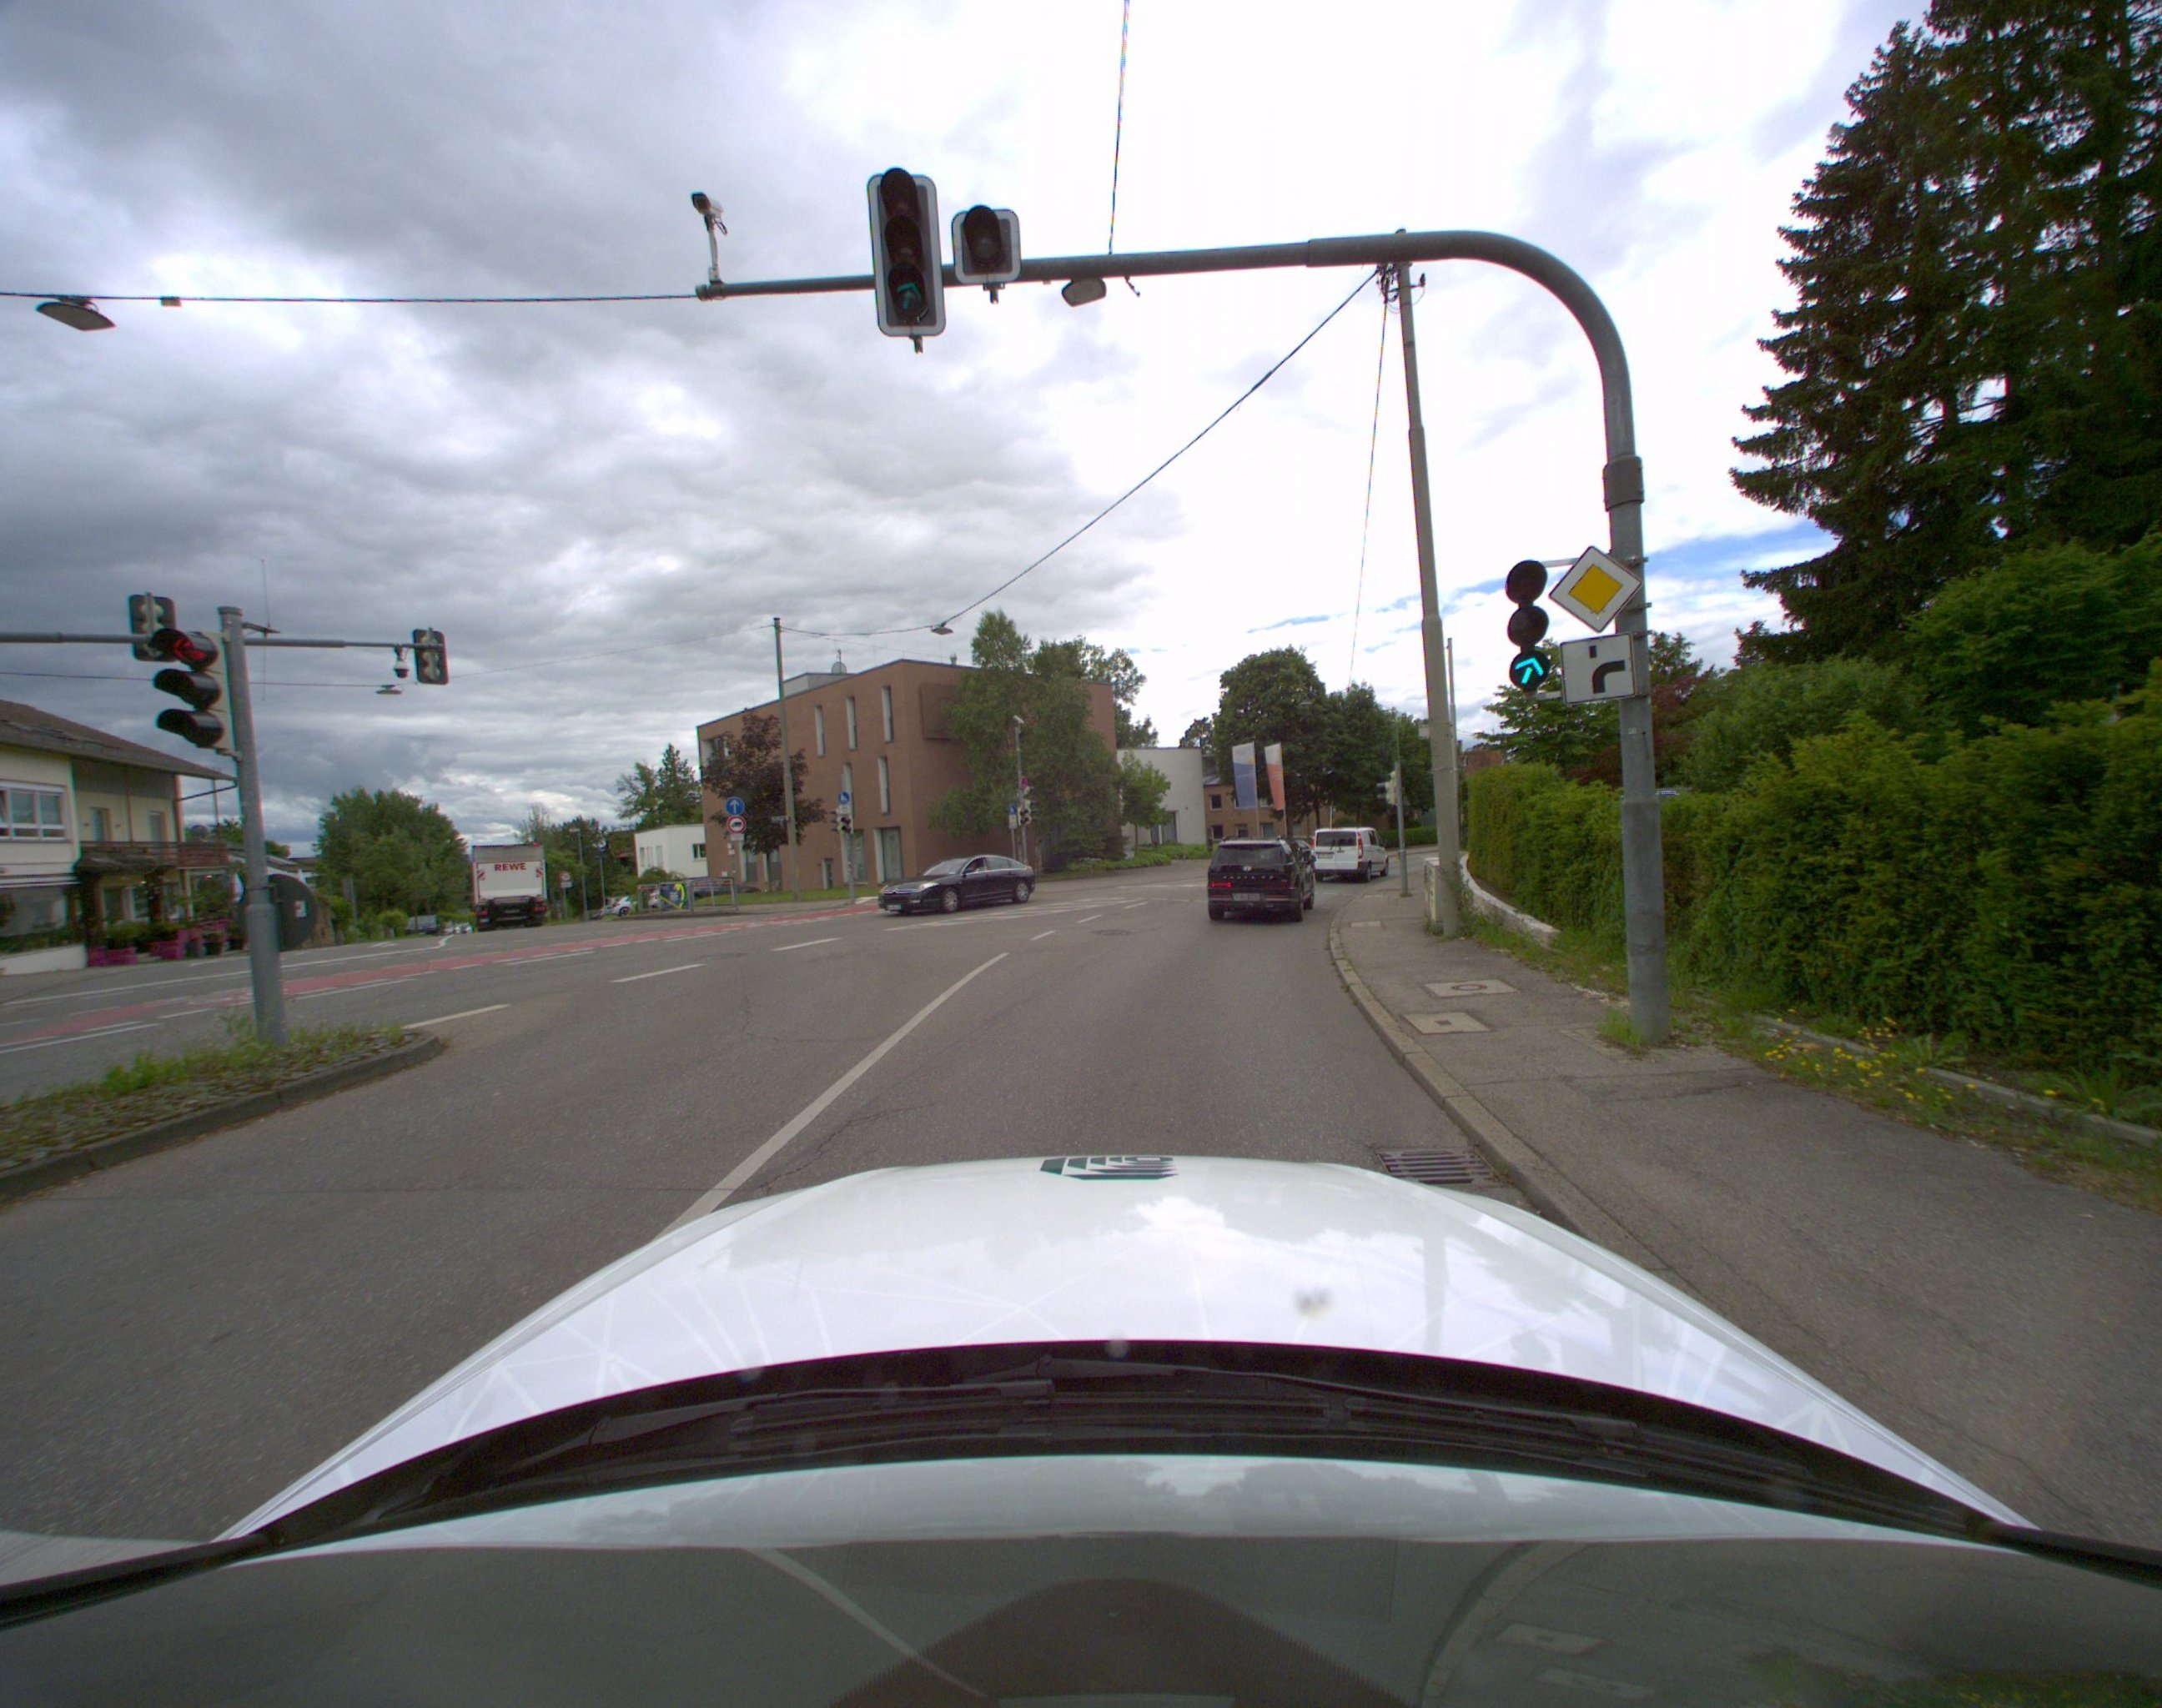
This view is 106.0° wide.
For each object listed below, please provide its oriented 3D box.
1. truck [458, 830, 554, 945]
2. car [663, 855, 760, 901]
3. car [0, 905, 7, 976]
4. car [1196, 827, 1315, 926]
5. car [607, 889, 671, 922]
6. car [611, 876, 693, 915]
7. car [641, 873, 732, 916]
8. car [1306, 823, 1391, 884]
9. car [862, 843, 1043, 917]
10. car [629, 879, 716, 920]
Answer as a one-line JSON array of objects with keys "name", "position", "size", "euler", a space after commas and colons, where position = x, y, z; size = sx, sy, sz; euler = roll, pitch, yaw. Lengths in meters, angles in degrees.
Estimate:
[{"name": "truck", "position": [-28.399, 1.556, 39.919], "size": [3.151, 4.734, 11.660], "euler": [-4, 1, -37]}, {"name": "car", "position": [-18.775, 1.200, 41.456], "size": [4.022, 2.013, 1.976], "euler": [-4, 0, -41]}, {"name": "car", "position": [-32.311, 2.575, 21.635], "size": [4.014, 2.013, 1.980], "euler": [-4, 0, -31]}, {"name": "car", "position": [3.908, 0.390, 17.721], "size": [1.977, 1.881, 4.021], "euler": [0, 1, 20]}, {"name": "car", "position": [-32.409, 3.713, 59.756], "size": [4.013, 2.013, 1.981], "euler": [-4, 0, -30]}, {"name": "car", "position": [-26.727, 2.536, 50.794], "size": [4.022, 2.013, 1.976], "euler": [-5, 1, -41]}, {"name": "car", "position": [-21.725, 2.189, 44.884], "size": [4.022, 2.013, 1.976], "euler": [-4, 0, -42]}, {"name": "car", "position": [9.739, -0.064, 29.462], "size": [1.943, 2.013, 4.456], "euler": [0, 1, 31]}, {"name": "car", "position": [-3.338, 0.633, 22.166], "size": [1.974, 1.658, 4.816], "euler": [-3, 0, 36]}, {"name": "car", "position": [-23.476, 2.569, 46.887], "size": [4.023, 2.013, 1.976], "euler": [-3, 0, -42]}]
